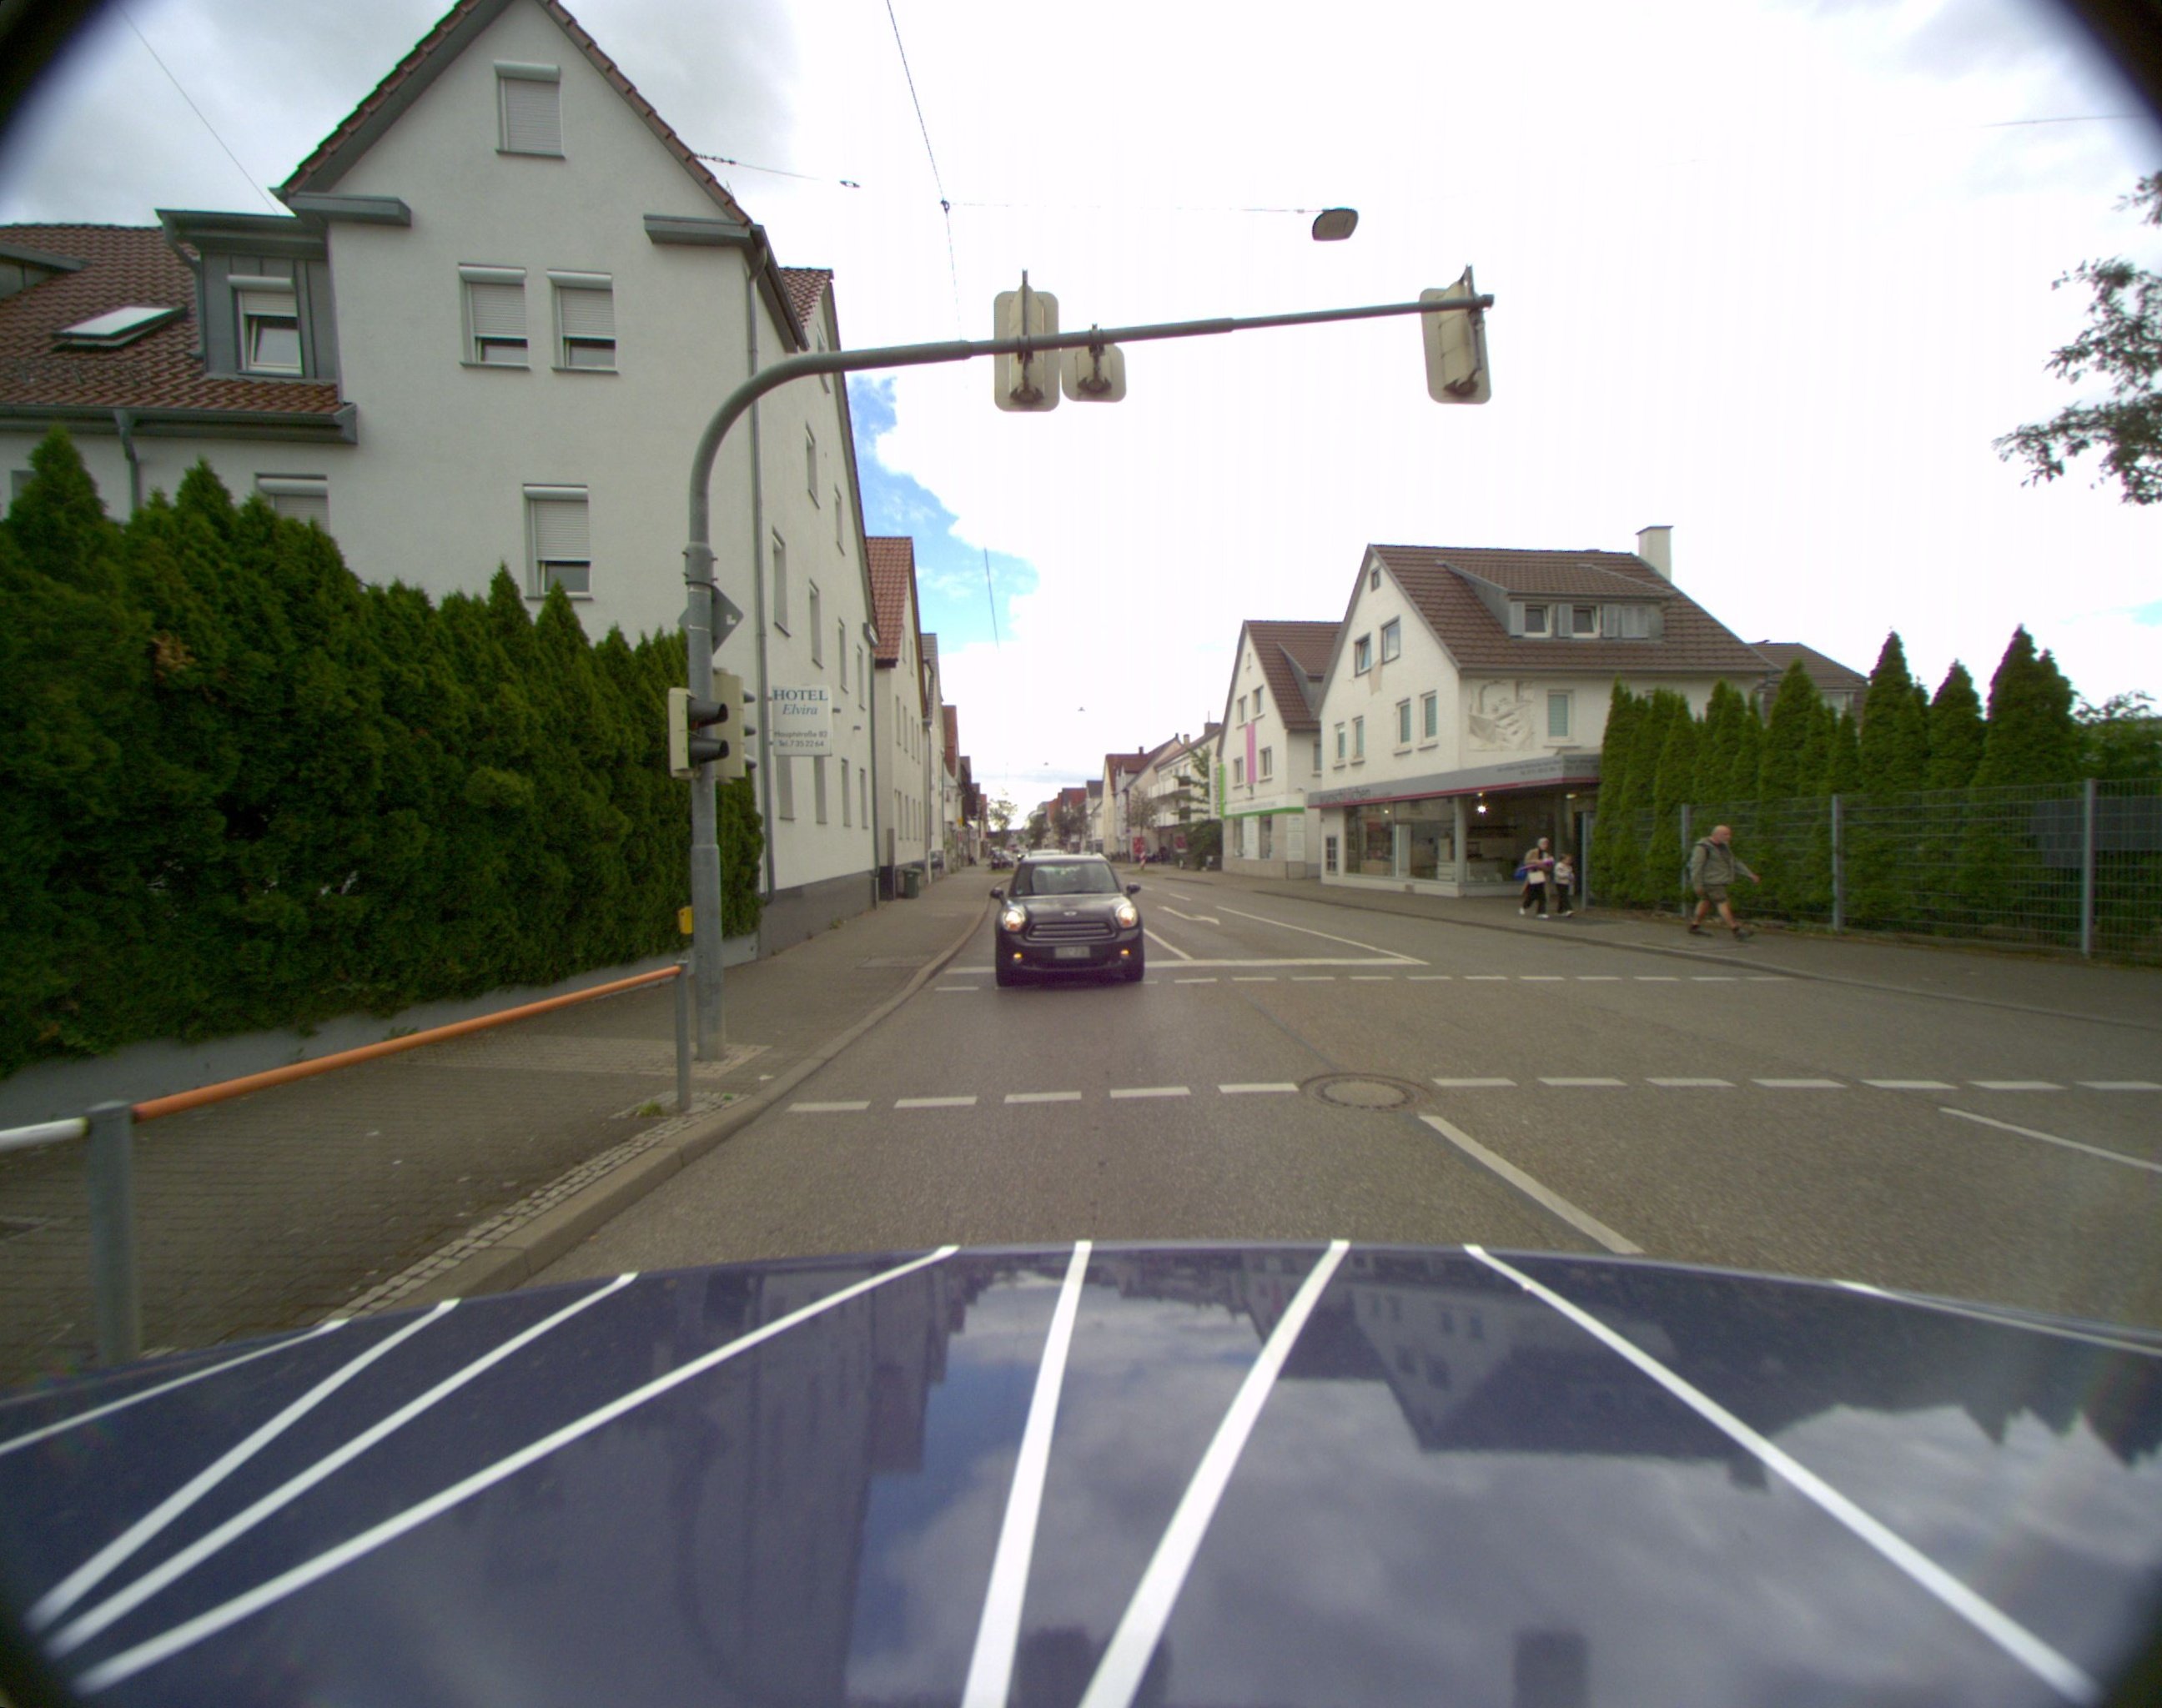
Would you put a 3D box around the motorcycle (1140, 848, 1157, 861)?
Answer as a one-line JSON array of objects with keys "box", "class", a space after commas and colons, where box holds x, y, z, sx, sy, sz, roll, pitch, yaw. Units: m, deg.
[{"box": [6.278, 0.061, 70.612, 1.515, 1.099, 0.589, -3, 1, 1], "class": "motorcycle"}]

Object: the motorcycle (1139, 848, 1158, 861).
[{"box": [6.411, 0.025, 72.339, 1.679, 1.099, 0.558, -3, 2, -5], "class": "motorcycle"}]

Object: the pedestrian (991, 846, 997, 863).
[{"box": [-8.707, 0.068, 75.974, 0.497, 1.744, 0.451, -1, 1, -4], "class": "pedestrian"}]

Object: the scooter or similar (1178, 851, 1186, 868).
[{"box": [6.943, 0.378, 52.210, 0.465, 1.117, 1.829, -2, 1, 9], "class": "scooter or similar"}]

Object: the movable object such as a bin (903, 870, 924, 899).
[{"box": [-5.421, 0.975, 24.616, 0.566, 0.898, 0.519, 0, 1, -4], "class": "movable object such as a bin"}]

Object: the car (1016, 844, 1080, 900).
[{"box": [-1.218, 0.546, 26.254, 1.812, 1.556, 4.613, -2, 3, -7], "class": "car"}]

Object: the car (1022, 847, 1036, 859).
[{"box": [-7.279, -0.102, 105.985, 1.846, 1.510, 3.997, -2, 1, -5], "class": "car"}]

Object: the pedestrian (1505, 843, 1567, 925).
[{"box": [9.291, 0.588, 15.531, 0.642, 1.596, 0.865, -3, 2, -15], "class": "pedestrian"}]

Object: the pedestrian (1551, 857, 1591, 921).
[{"box": [9.909, 0.702, 15.369, 0.383, 1.254, 0.549, -3, 2, -15], "class": "pedestrian"}]

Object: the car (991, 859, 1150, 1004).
[{"box": [-0.245, 0.848, 10.255, 1.694, 1.506, 3.998, -2, 0, -4], "class": "car"}]

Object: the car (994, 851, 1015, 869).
[{"box": [-7.234, 0.523, 71.821, 1.847, 1.510, 3.997, -3, 1, -7], "class": "car"}]

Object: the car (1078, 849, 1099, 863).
[{"box": [0.777, 0.161, 79.709, 1.635, 1.404, 3.996, 0, 1, -8], "class": "car"}]

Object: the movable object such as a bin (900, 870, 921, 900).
[{"box": [-5.380, 0.976, 23.992, 0.566, 0.898, 0.519, 0, 1, -4], "class": "movable object such as a bin"}]

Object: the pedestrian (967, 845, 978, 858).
[{"box": [-10.703, -0.252, 75.019, 0.982, 1.272, 0.667, 0, 1, 7], "class": "pedestrian"}]

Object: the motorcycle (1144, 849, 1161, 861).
[{"box": [6.547, 0.097, 69.853, 1.430, 1.017, 0.525, -3, 2, -5], "class": "motorcycle"}]

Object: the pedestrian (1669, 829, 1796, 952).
[{"box": [9.869, 0.520, 11.565, 0.823, 1.744, 1.229, -2, 2, -4], "class": "pedestrian"}]
